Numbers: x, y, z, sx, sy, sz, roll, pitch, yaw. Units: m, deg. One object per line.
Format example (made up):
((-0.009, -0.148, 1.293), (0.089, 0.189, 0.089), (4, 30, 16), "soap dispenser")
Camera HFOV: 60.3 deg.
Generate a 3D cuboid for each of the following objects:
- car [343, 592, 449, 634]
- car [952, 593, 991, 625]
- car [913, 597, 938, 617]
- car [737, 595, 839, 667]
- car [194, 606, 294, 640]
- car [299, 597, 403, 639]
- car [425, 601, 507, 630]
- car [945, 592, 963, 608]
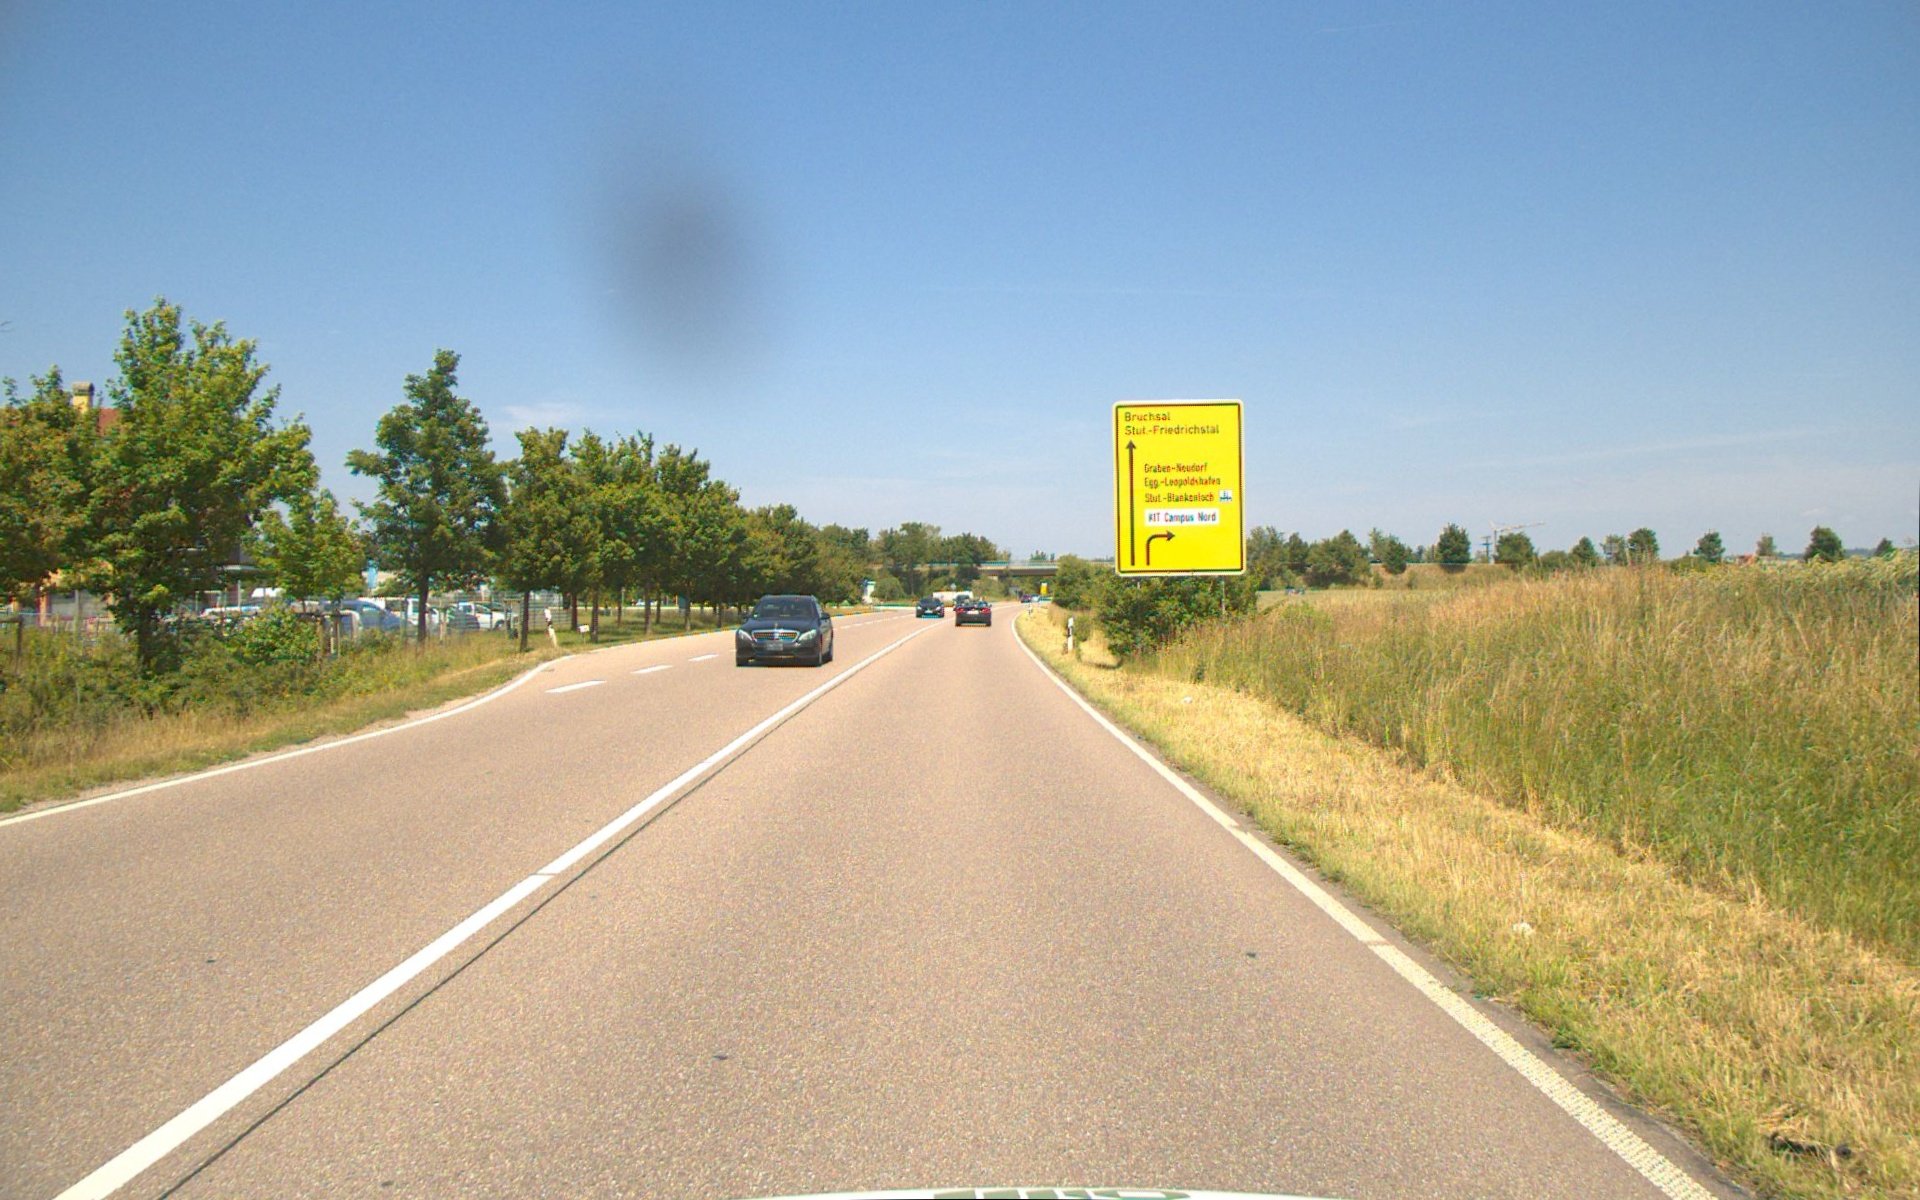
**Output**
((-27.384, 0.640, 80.332), (4.603, 1.988, 1.807), (0, 0, -32), "car")
((0.546, 0.432, 81.219), (1.777, 1.466, 3.999), (1, 0, -1), "car")
((-2.220, 0.435, 107.007), (1.602, 1.291, 3.811), (0, 0, -1), "car")
((-3.653, 0.619, 35.766), (1.745, 1.445, 4.533), (0, 0, 0), "car")
((-31.080, 1.011, 71.890), (3.612, 1.433, 1.641), (0, 0, -3), "car")
((-26.913, 0.785, 73.117), (4.233, 1.833, 2.011), (0, 0, -23), "car")
((-26.658, 0.827, 89.334), (3.953, 1.505, 1.650), (0, 0, -38), "car")
((-0.579, -0.020, 159.544), (1.645, 1.525, 3.887), (1, 0, 2), "car")
